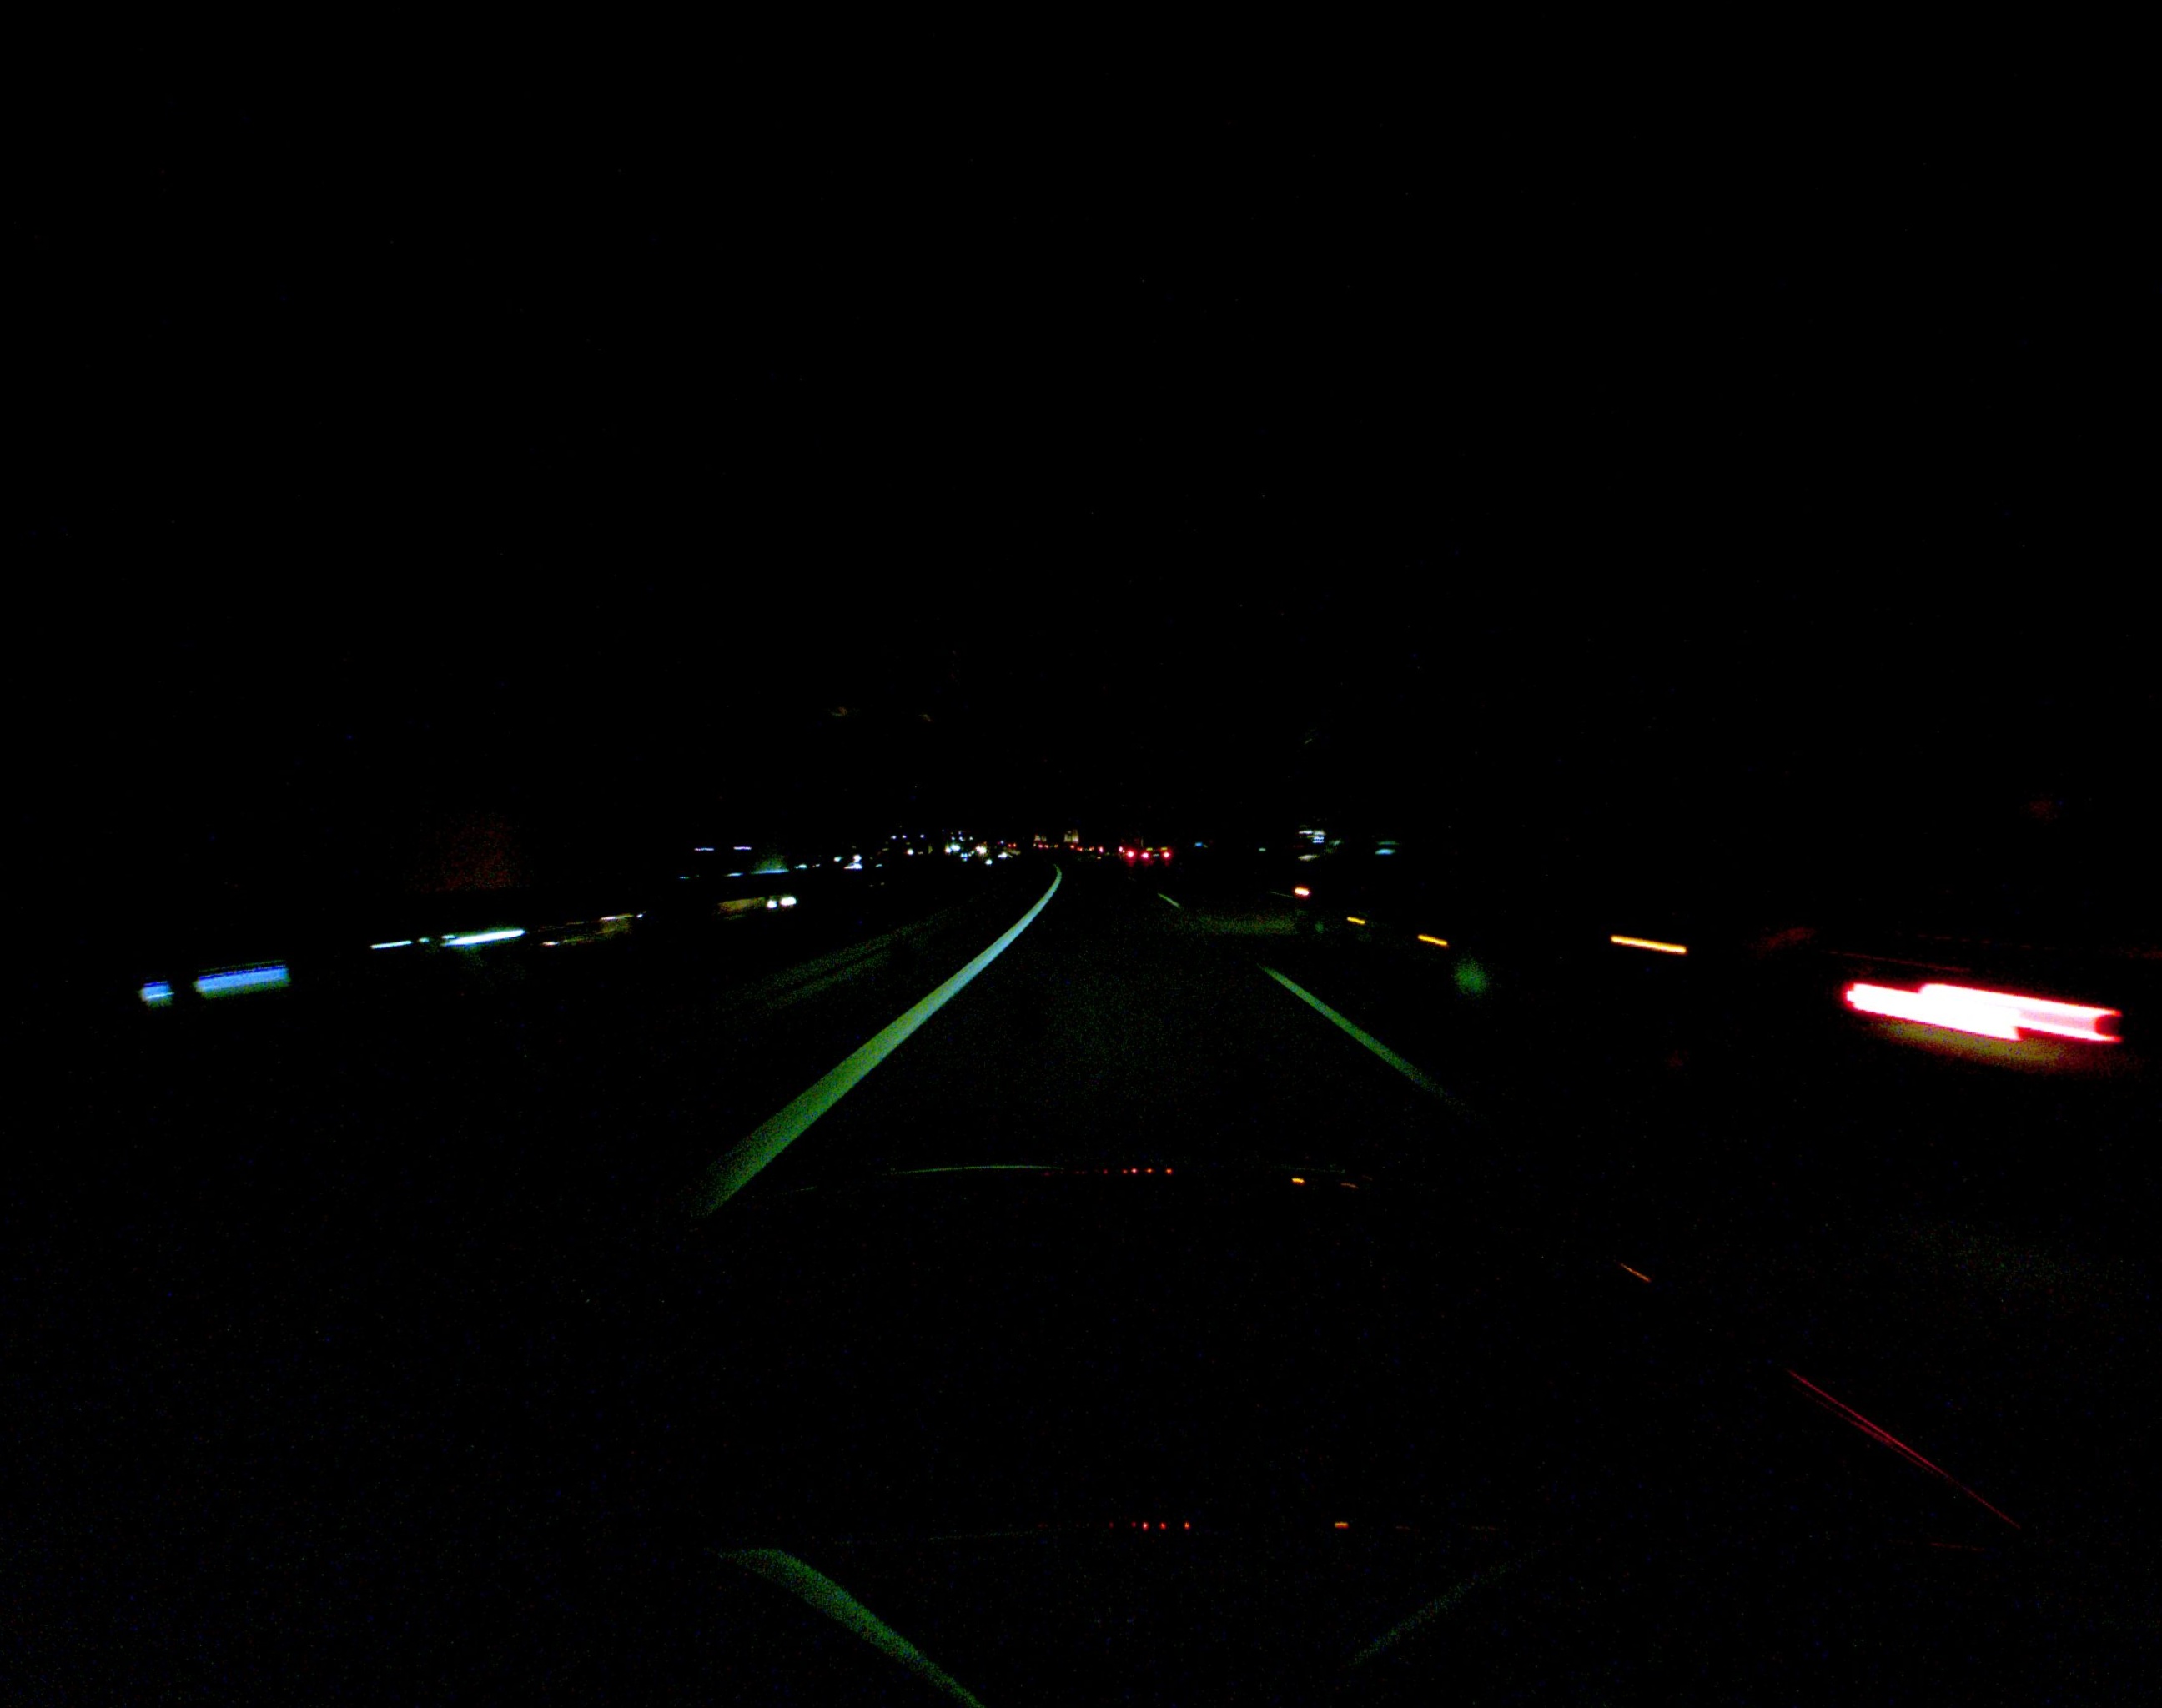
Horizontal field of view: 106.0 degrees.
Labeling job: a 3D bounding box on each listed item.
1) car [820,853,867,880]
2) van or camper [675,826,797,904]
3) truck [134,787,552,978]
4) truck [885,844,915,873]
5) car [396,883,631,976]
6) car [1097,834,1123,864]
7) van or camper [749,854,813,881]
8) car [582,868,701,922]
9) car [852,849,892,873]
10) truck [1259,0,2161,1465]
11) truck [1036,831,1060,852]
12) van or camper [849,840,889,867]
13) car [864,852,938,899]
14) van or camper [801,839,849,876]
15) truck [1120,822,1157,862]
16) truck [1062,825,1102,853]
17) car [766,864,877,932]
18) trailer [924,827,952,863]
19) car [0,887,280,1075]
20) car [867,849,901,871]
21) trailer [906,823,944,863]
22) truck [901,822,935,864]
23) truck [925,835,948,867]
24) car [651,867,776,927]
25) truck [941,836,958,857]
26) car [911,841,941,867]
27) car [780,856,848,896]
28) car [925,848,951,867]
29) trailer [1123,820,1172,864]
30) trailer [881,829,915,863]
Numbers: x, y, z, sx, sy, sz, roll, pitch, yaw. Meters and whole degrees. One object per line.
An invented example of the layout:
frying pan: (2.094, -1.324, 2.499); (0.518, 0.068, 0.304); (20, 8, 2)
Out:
car: (-15.392, 0.797, 53.029); (1.923, 1.653, 4.730); (-1, -1, -4)
van or camper: (-14.786, 0.382, 35.499); (2.215, 3.003, 7.123); (-1, 1, 0)
truck: (-15.454, 0.510, 18.155); (2.369, 3.260, 7.717); (-2, 0, -2)
truck: (-16.218, 0.337, 73.185); (1.991, 2.458, 5.039); (-1, 1, -7)
car: (-10.664, 1.339, 15.738); (1.528, 1.335, 4.220); (-2, 0, 0)
car: (2.787, -0.434, 76.079); (2.327, 2.640, 5.251); (0, -1, 3)
van or camper: (-19.598, 0.848, 53.484); (2.215, 1.550, 5.215); (-1, 1, -1)
car: (-14.624, 1.314, 27.393); (1.636, 1.539, 4.436); (-2, 0, -1)
car: (-14.837, 0.473, 57.991); (1.894, 1.387, 4.343); (-3, 2, -4)
truck: (4.302, -0.652, 3.720); (3.469, 4.134, 18.717); (0, 0, 2)
truck: (-7.727, -2.870, 188.693); (3.346, 4.475, 13.855); (2, 1, -12)
van or camper: (-21.097, -0.101, 81.507); (2.578, 2.592, 7.101); (-1, 1, -4)
car: (-7.215, 0.805, 33.132); (1.800, 1.741, 4.869); (-2, 0, 1)
van or camper: (-19.916, 0.200, 63.698); (1.989, 2.656, 6.609); (-1, 1, -4)
truck: (6.116, -1.338, 87.469); (2.856, 4.076, 7.501); (-1, 1, -4)
truck: (-0.109, -2.643, 149.128); (3.914, 4.627, 20.952); (-2, 1, -9)
car: (-6.983, 1.132, 22.318); (1.675, 1.566, 4.000); (-2, 0, 1)
trailer: (-20.353, -1.300, 116.759); (2.839, 4.462, 14.484); (-9, 2, -8)
car: (-11.139, 1.271, 8.038); (1.987, 1.660, 4.454); (-2, 0, 0)
car: (-15.695, 0.436, 65.005); (1.883, 1.676, 5.070); (-1, 1, -6)
trailer: (-17.817, -1.341, 94.021); (2.871, 4.183, 14.496); (-1, 1, -5)
truck: (-16.965, -1.177, 85.086); (2.862, 4.210, 6.093); (-1, 1, -6)
truck: (-19.593, -0.422, 110.748); (2.614, 4.268, 5.943); (-1, 1, -7)
car: (-10.791, 1.206, 24.280); (1.635, 1.483, 4.364); (-2, 0, 1)
truck: (-25.668, -1.572, 158.597); (2.830, 3.916, 4.914); (-2, 2, -13)
car: (-11.893, 0.018, 62.699); (1.673, 1.850, 4.105); (2, -1, -4)
car: (-11.352, 0.889, 34.910); (1.636, 1.539, 3.998); (-2, 0, -1)
car: (-12.614, 0.351, 72.051); (1.896, 1.523, 4.339); (-3, 0, -6)
trailer: (6.515, -1.238, 81.971); (2.849, 4.067, 13.185); (-1, 1, -4)
trailer: (-24.642, -1.074, 110.461); (2.836, 4.171, 13.255); (-3, 1, -6)
